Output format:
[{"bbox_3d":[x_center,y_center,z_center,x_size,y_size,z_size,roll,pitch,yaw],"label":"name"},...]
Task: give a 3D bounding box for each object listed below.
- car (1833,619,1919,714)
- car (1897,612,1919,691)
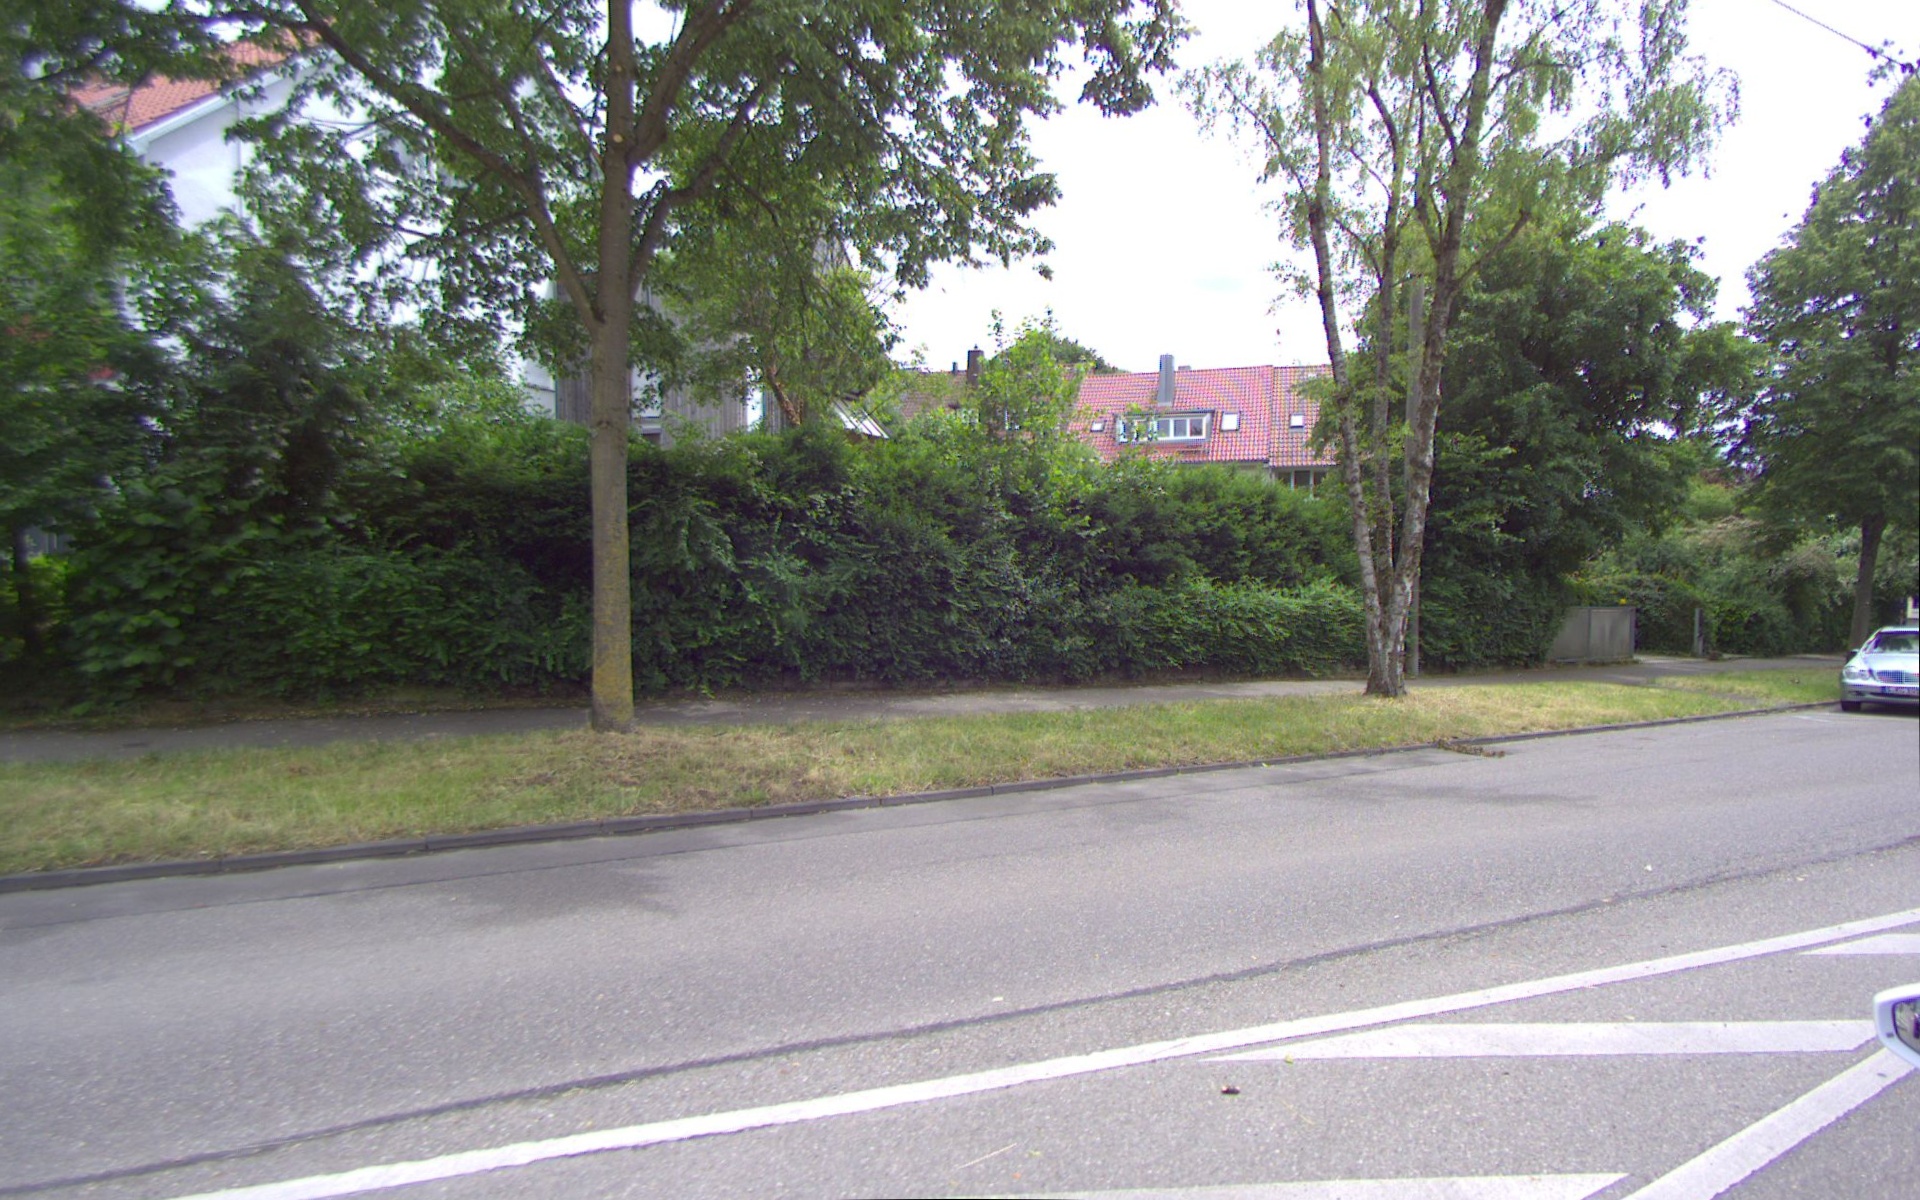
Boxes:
[{"bbox_3d":[16.509,1.070,17.197,4.435,1.435,1.721,0,0,-40],"label":"car"},{"bbox_3d":[20.981,1.032,20.585,4.146,1.558,1.725,0,0,-34],"label":"car"}]
